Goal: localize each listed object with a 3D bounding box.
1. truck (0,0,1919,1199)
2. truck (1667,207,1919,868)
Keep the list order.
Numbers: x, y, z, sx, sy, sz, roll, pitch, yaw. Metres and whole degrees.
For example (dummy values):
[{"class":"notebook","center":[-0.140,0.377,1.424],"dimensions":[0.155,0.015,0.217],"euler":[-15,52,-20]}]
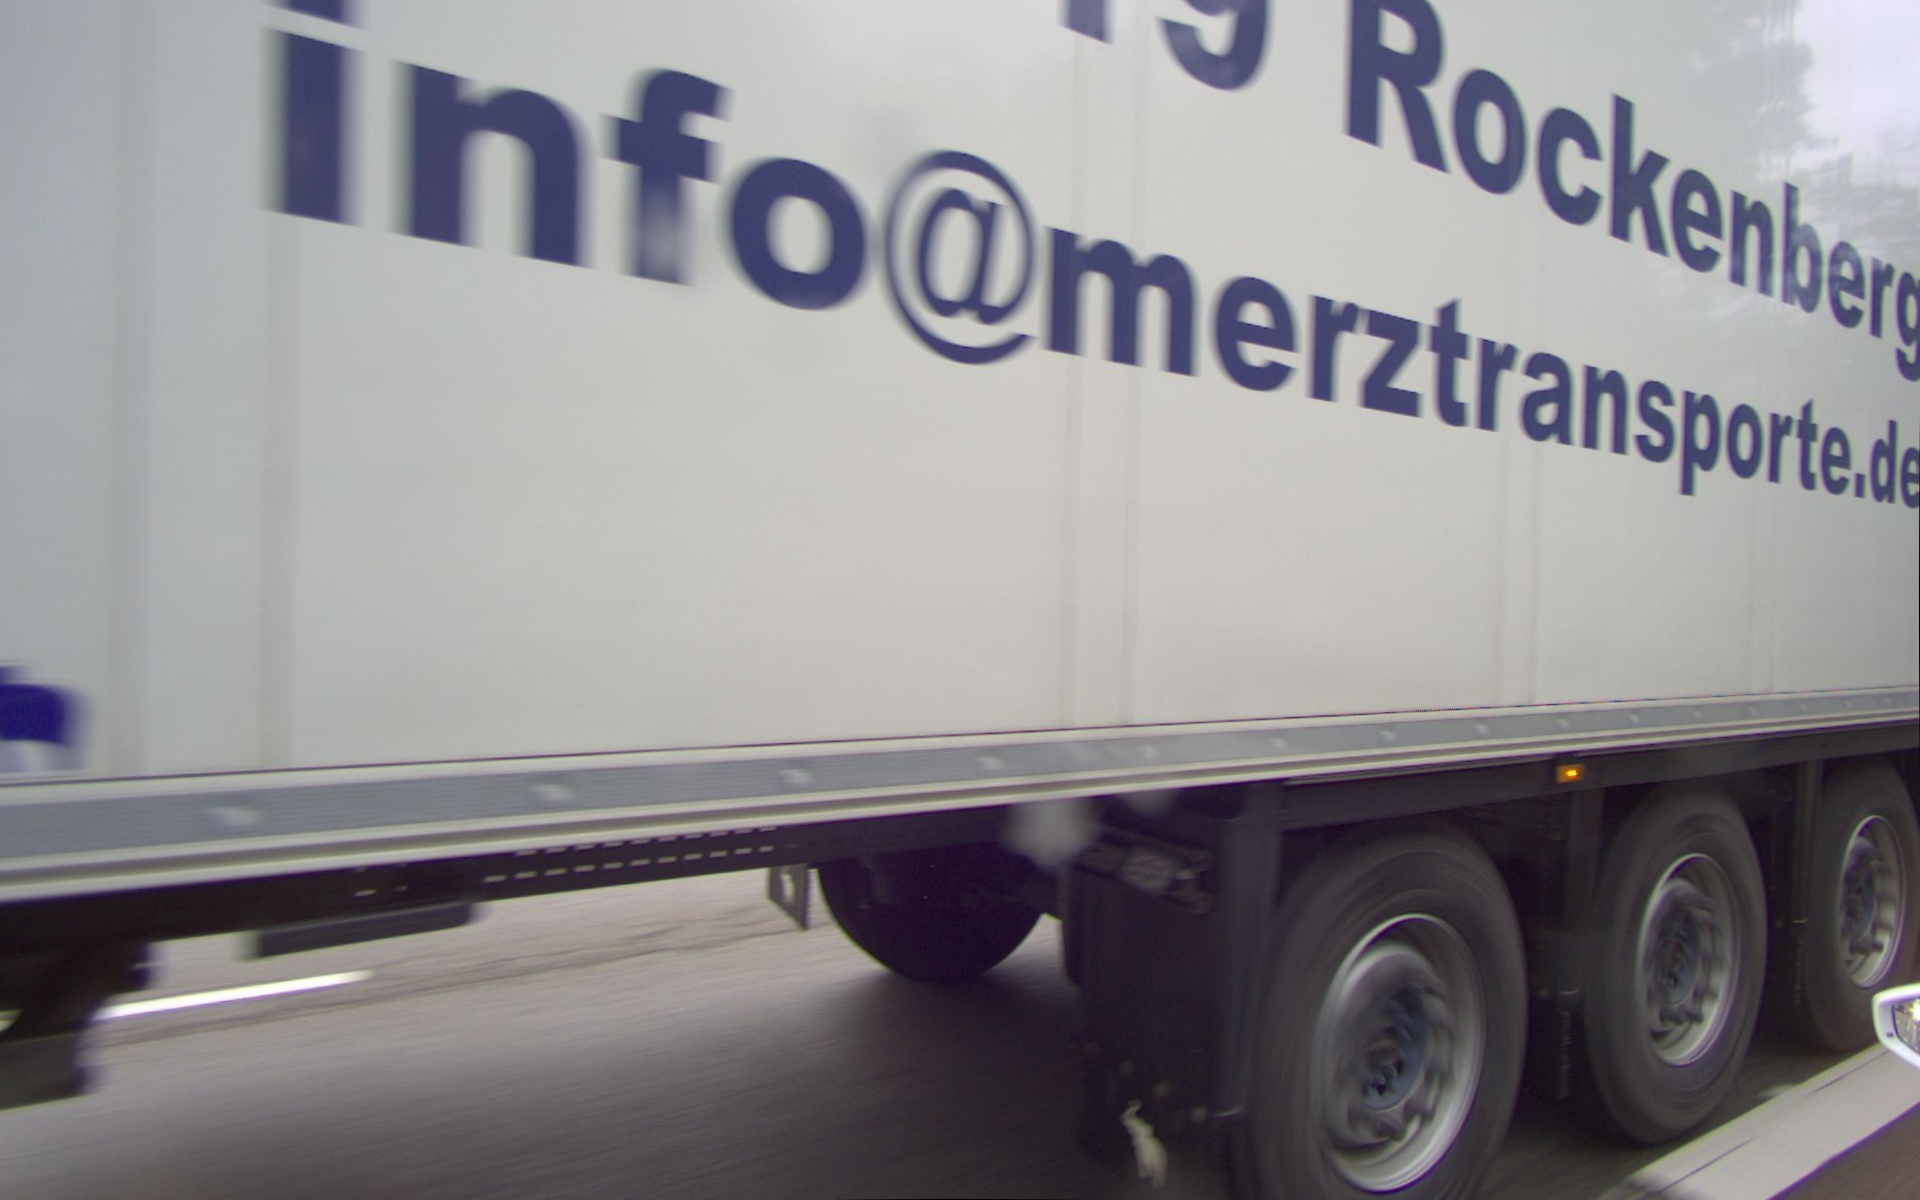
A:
[{"class":"truck","center":[2.790,-0.545,4.513],"dimensions":[12.880,4.253,2.748],"euler":[1,-1,-31]},{"class":"truck","center":[9.005,-0.361,8.260],"dimensions":[6.706,4.253,2.749],"euler":[1,-1,-31]}]
